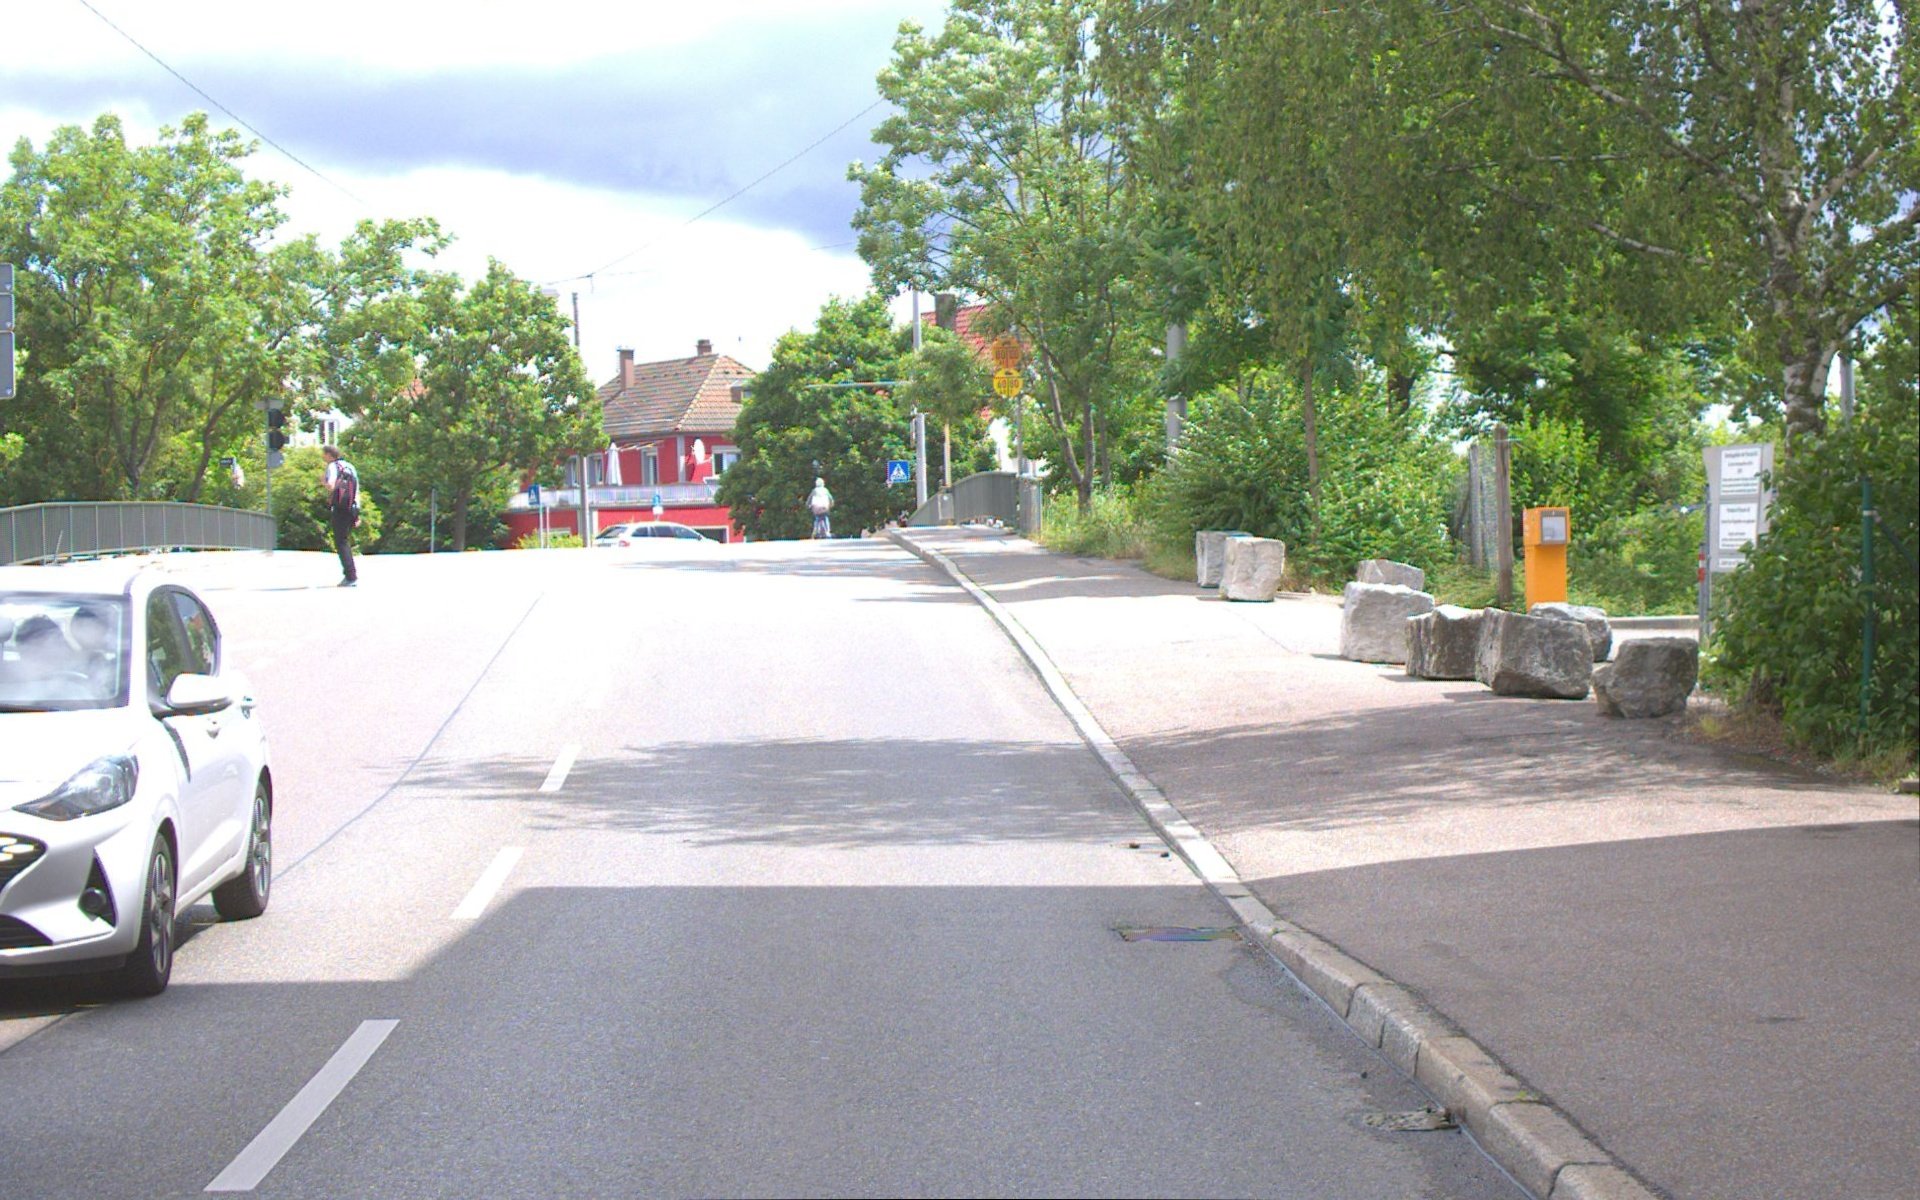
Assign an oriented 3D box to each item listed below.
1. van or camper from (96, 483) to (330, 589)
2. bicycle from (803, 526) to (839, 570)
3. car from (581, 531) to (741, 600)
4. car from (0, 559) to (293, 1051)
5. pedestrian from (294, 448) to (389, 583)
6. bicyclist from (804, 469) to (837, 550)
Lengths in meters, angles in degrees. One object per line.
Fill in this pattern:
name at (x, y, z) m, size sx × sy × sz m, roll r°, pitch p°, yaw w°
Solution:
van or camper at (-20.526, -1.742, 94.687) m, size 5.908 × 2.558 × 2.194 m, roll -2°, pitch -2°, yaw -1°
bicycle at (-3.290, -1.231, 81.379) m, size 0.687 × 0.875 × 2.101 m, roll -1°, pitch -4°, yaw 2°
car at (-8.645, -0.988, 99.744) m, size 1.998 × 1.825 × 4.421 m, roll 1°, pitch -1°, yaw 42°
car at (-3.677, 0.658, 13.003) m, size 1.719 × 1.576 × 4.000 m, roll 1°, pitch 0°, yaw -3°
pedestrian at (-8.486, -1.162, 47.175) m, size 1.034 × 1.830 × 0.999 m, roll 0°, pitch 2°, yaw 6°
bicyclist at (-3.300, -2.137, 81.334) m, size 0.684 × 1.820 × 1.080 m, roll -1°, pitch -4°, yaw 2°
